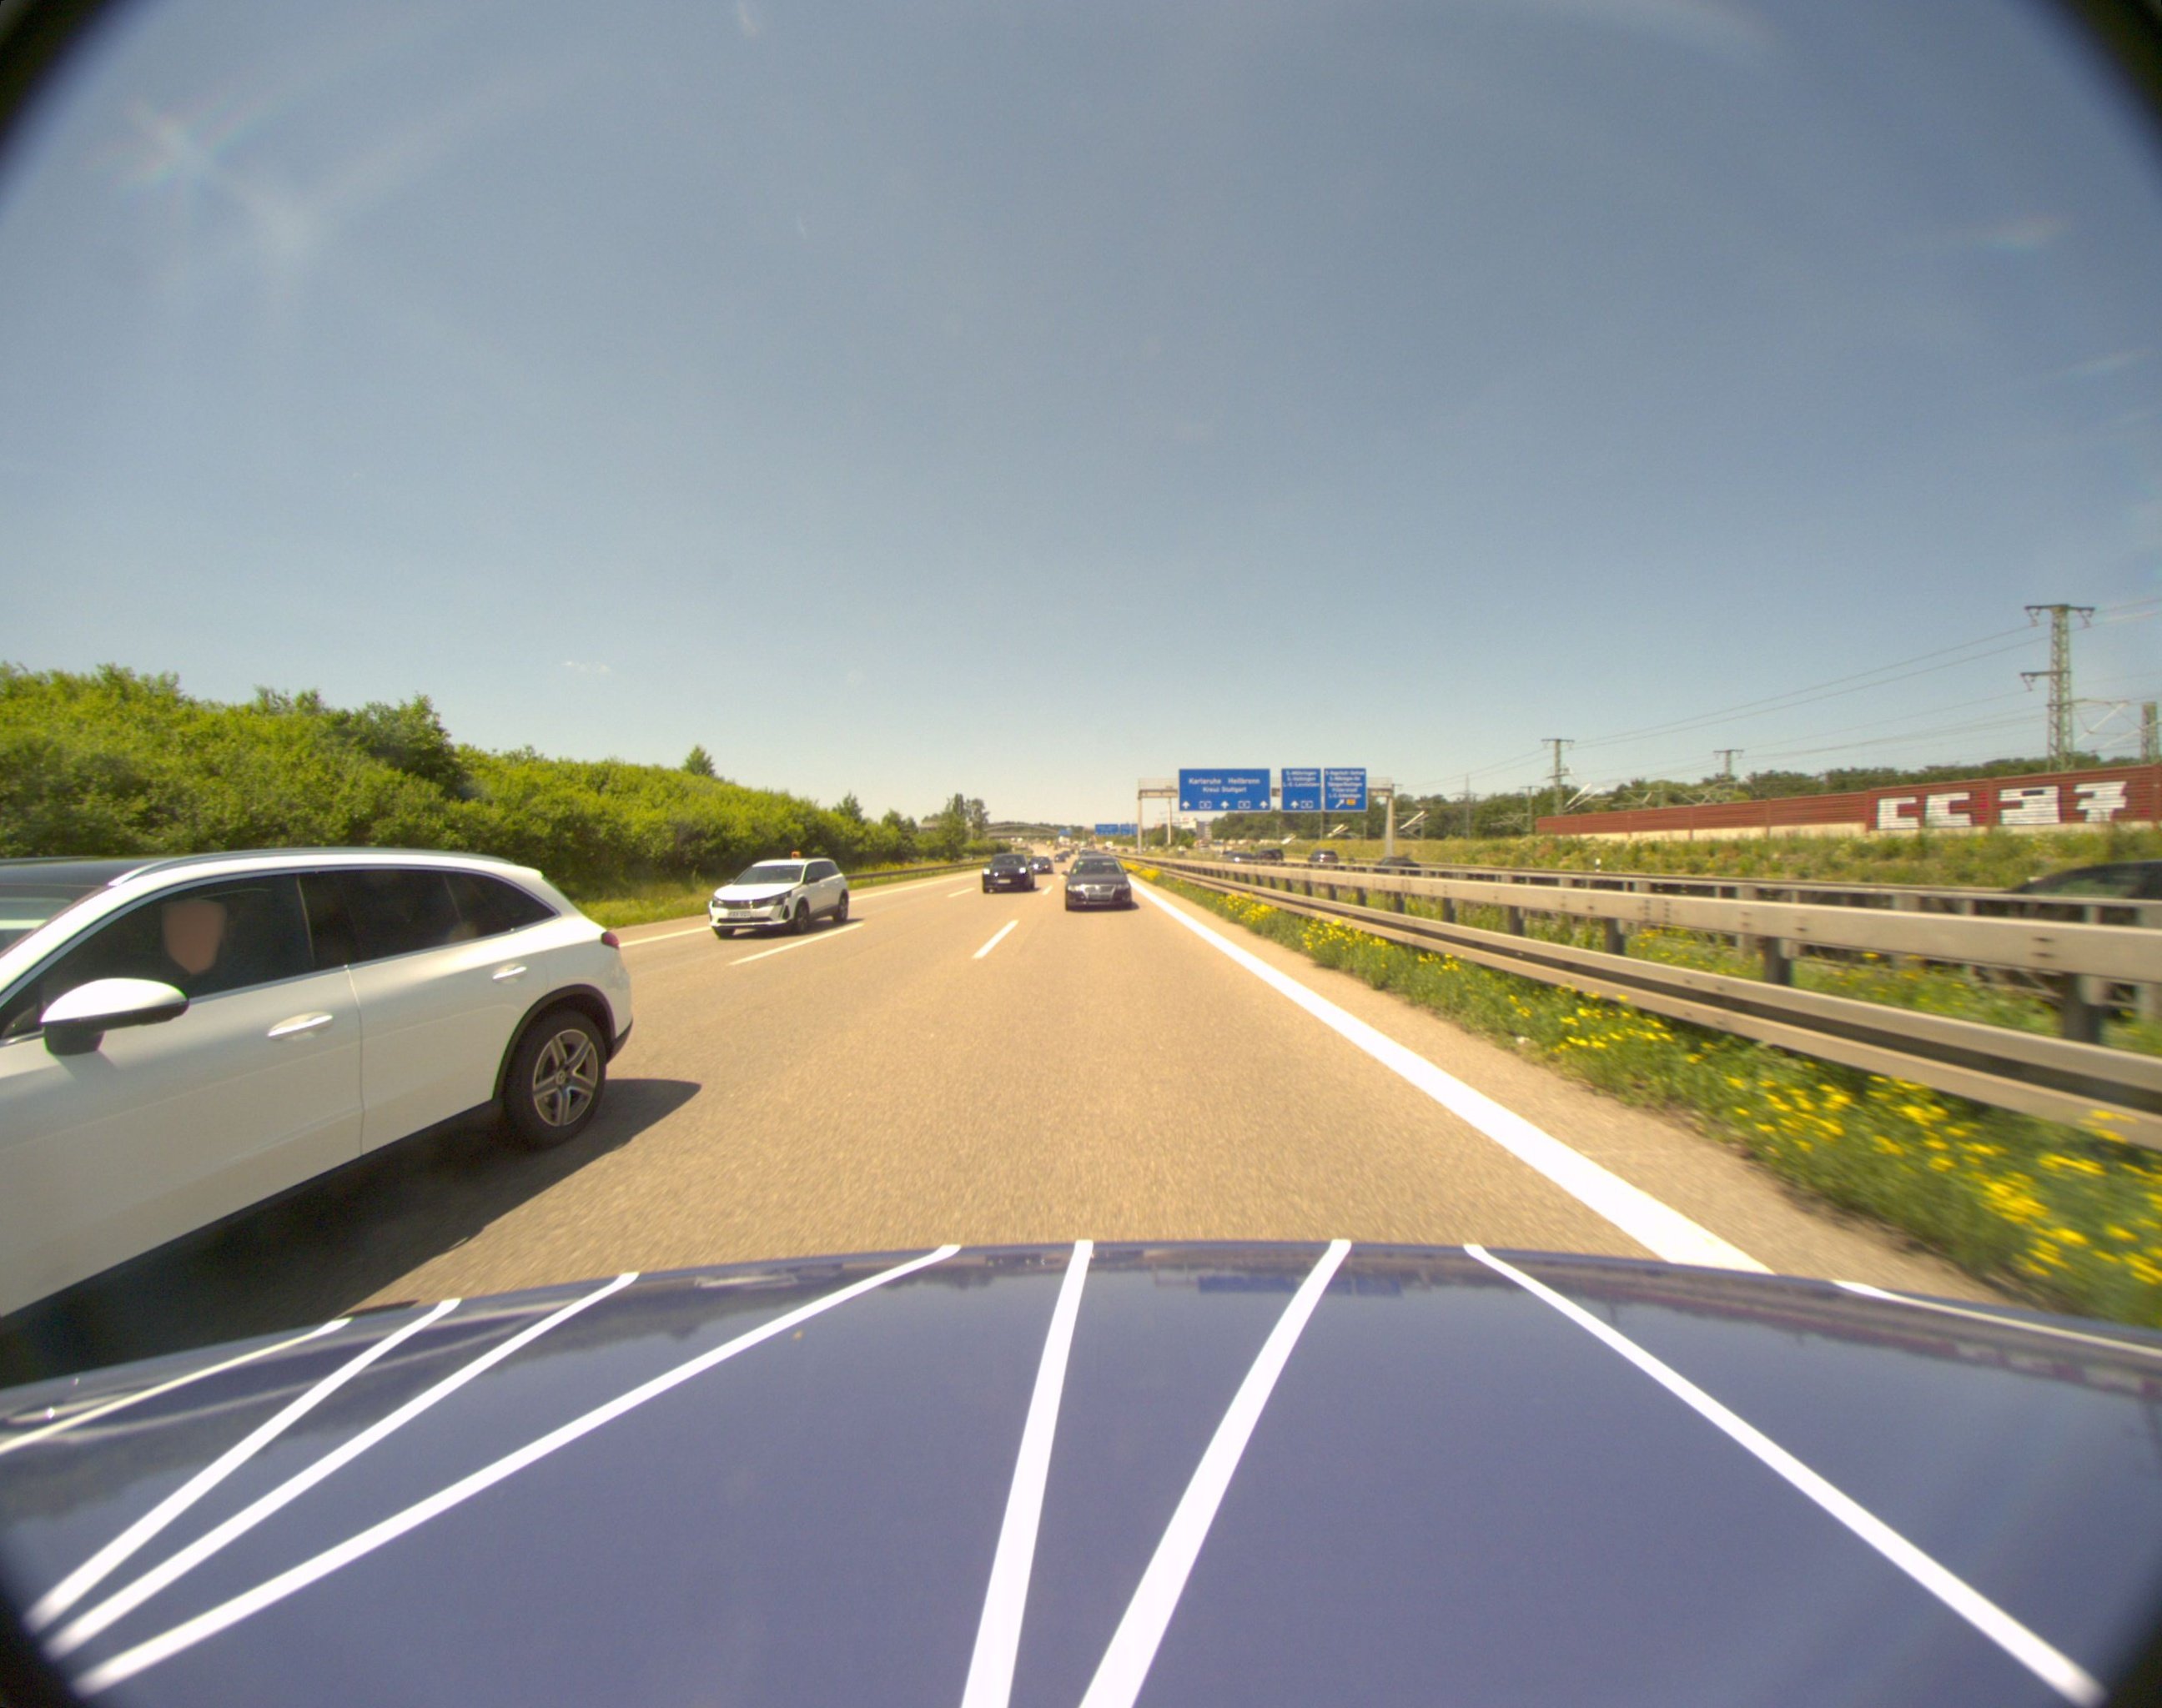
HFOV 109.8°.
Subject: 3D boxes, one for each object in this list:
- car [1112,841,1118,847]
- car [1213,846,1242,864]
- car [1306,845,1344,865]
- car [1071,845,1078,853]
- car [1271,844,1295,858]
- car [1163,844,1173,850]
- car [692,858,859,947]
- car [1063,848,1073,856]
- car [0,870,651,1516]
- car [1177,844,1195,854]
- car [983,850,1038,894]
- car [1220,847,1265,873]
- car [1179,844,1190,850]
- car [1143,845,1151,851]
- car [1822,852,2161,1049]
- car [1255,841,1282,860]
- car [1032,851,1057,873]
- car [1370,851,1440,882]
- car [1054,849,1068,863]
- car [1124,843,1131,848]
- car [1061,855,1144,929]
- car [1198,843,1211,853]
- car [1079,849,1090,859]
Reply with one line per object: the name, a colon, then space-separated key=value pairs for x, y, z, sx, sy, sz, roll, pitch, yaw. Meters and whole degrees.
car: x=11.856 y=-3.535 z=264.163 sx=1.999 sy=1.820 sz=5.598 roll=-2 pitch=1 yaw=0
car: x=13.958 y=0.057 z=72.751 sx=1.998 sy=1.686 sz=4.188 roll=0 pitch=1 yaw=1
car: x=22.187 y=0.088 z=69.287 sx=1.998 sy=1.716 sz=4.512 roll=-2 pitch=1 yaw=1
car: x=-1.904 y=-1.456 z=220.328 sx=1.998 sy=2.002 sz=3.999 roll=-3 pitch=1 yaw=1
car: x=25.694 y=-0.400 z=96.823 sx=1.998 sy=1.716 sz=4.513 roll=-2 pitch=1 yaw=1
car: x=21.982 y=-1.809 z=192.259 sx=1.998 sy=1.567 sz=4.477 roll=-1 pitch=1 yaw=3
car: x=-6.835 y=0.986 z=17.644 sx=1.898 sy=1.620 sz=4.616 roll=-2 pitch=1 yaw=1
car: x=-2.842 y=-0.492 z=166.975 sx=1.999 sy=1.691 sz=3.999 roll=-2 pitch=1 yaw=-1
car: x=-3.817 y=0.954 z=2.650 sx=1.909 sy=1.646 sz=4.636 roll=-2 pitch=0 yaw=0
car: x=15.084 y=-0.701 z=109.233 sx=1.872 sy=1.387 sz=4.511 roll=-1 pitch=1 yaw=-2
car: x=-2.956 y=0.719 z=32.717 sx=1.983 sy=1.620 sz=4.615 roll=-2 pitch=1 yaw=-1
car: x=10.071 y=0.337 z=47.645 sx=1.998 sy=1.478 sz=4.154 roll=1 pitch=1 yaw=1
car: x=25.702 y=-1.783 z=188.819 sx=1.998 sy=1.567 sz=4.476 roll=-2 pitch=1 yaw=1
car: x=17.787 y=-1.726 z=204.547 sx=1.998 sy=1.567 sz=4.476 roll=-2 pitch=1 yaw=1
car: x=9.335 y=0.746 z=6.367 sx=1.998 sy=1.455 sz=4.385 roll=-2 pitch=0 yaw=1
car: x=21.336 y=-0.456 z=86.555 sx=1.998 sy=2.002 sz=4.308 roll=-3 pitch=1 yaw=1
car: x=-2.759 y=0.570 z=57.839 sx=1.752 sy=1.462 sz=3.998 roll=-2 pitch=1 yaw=-2
car: x=16.758 y=0.587 z=39.500 sx=1.998 sy=1.478 sz=3.931 roll=1 pitch=1 yaw=1
car: x=-2.942 y=0.320 z=114.446 sx=1.999 sy=2.002 sz=3.999 roll=-2 pitch=1 yaw=-1
car: x=13.628 y=-2.459 z=222.904 sx=1.934 sy=1.475 sz=4.475 roll=-2 pitch=1 yaw=0
car: x=0.451 y=0.821 z=18.461 sx=1.752 sy=1.462 sz=3.999 roll=-2 pitch=1 yaw=-1
car: x=25.450 y=-1.236 z=157.176 sx=1.998 sy=1.875 sz=4.977 roll=-2 pitch=1 yaw=1
car: x=0.714 y=-0.057 z=143.008 sx=1.999 sy=1.691 sz=3.999 roll=-2 pitch=1 yaw=-1
